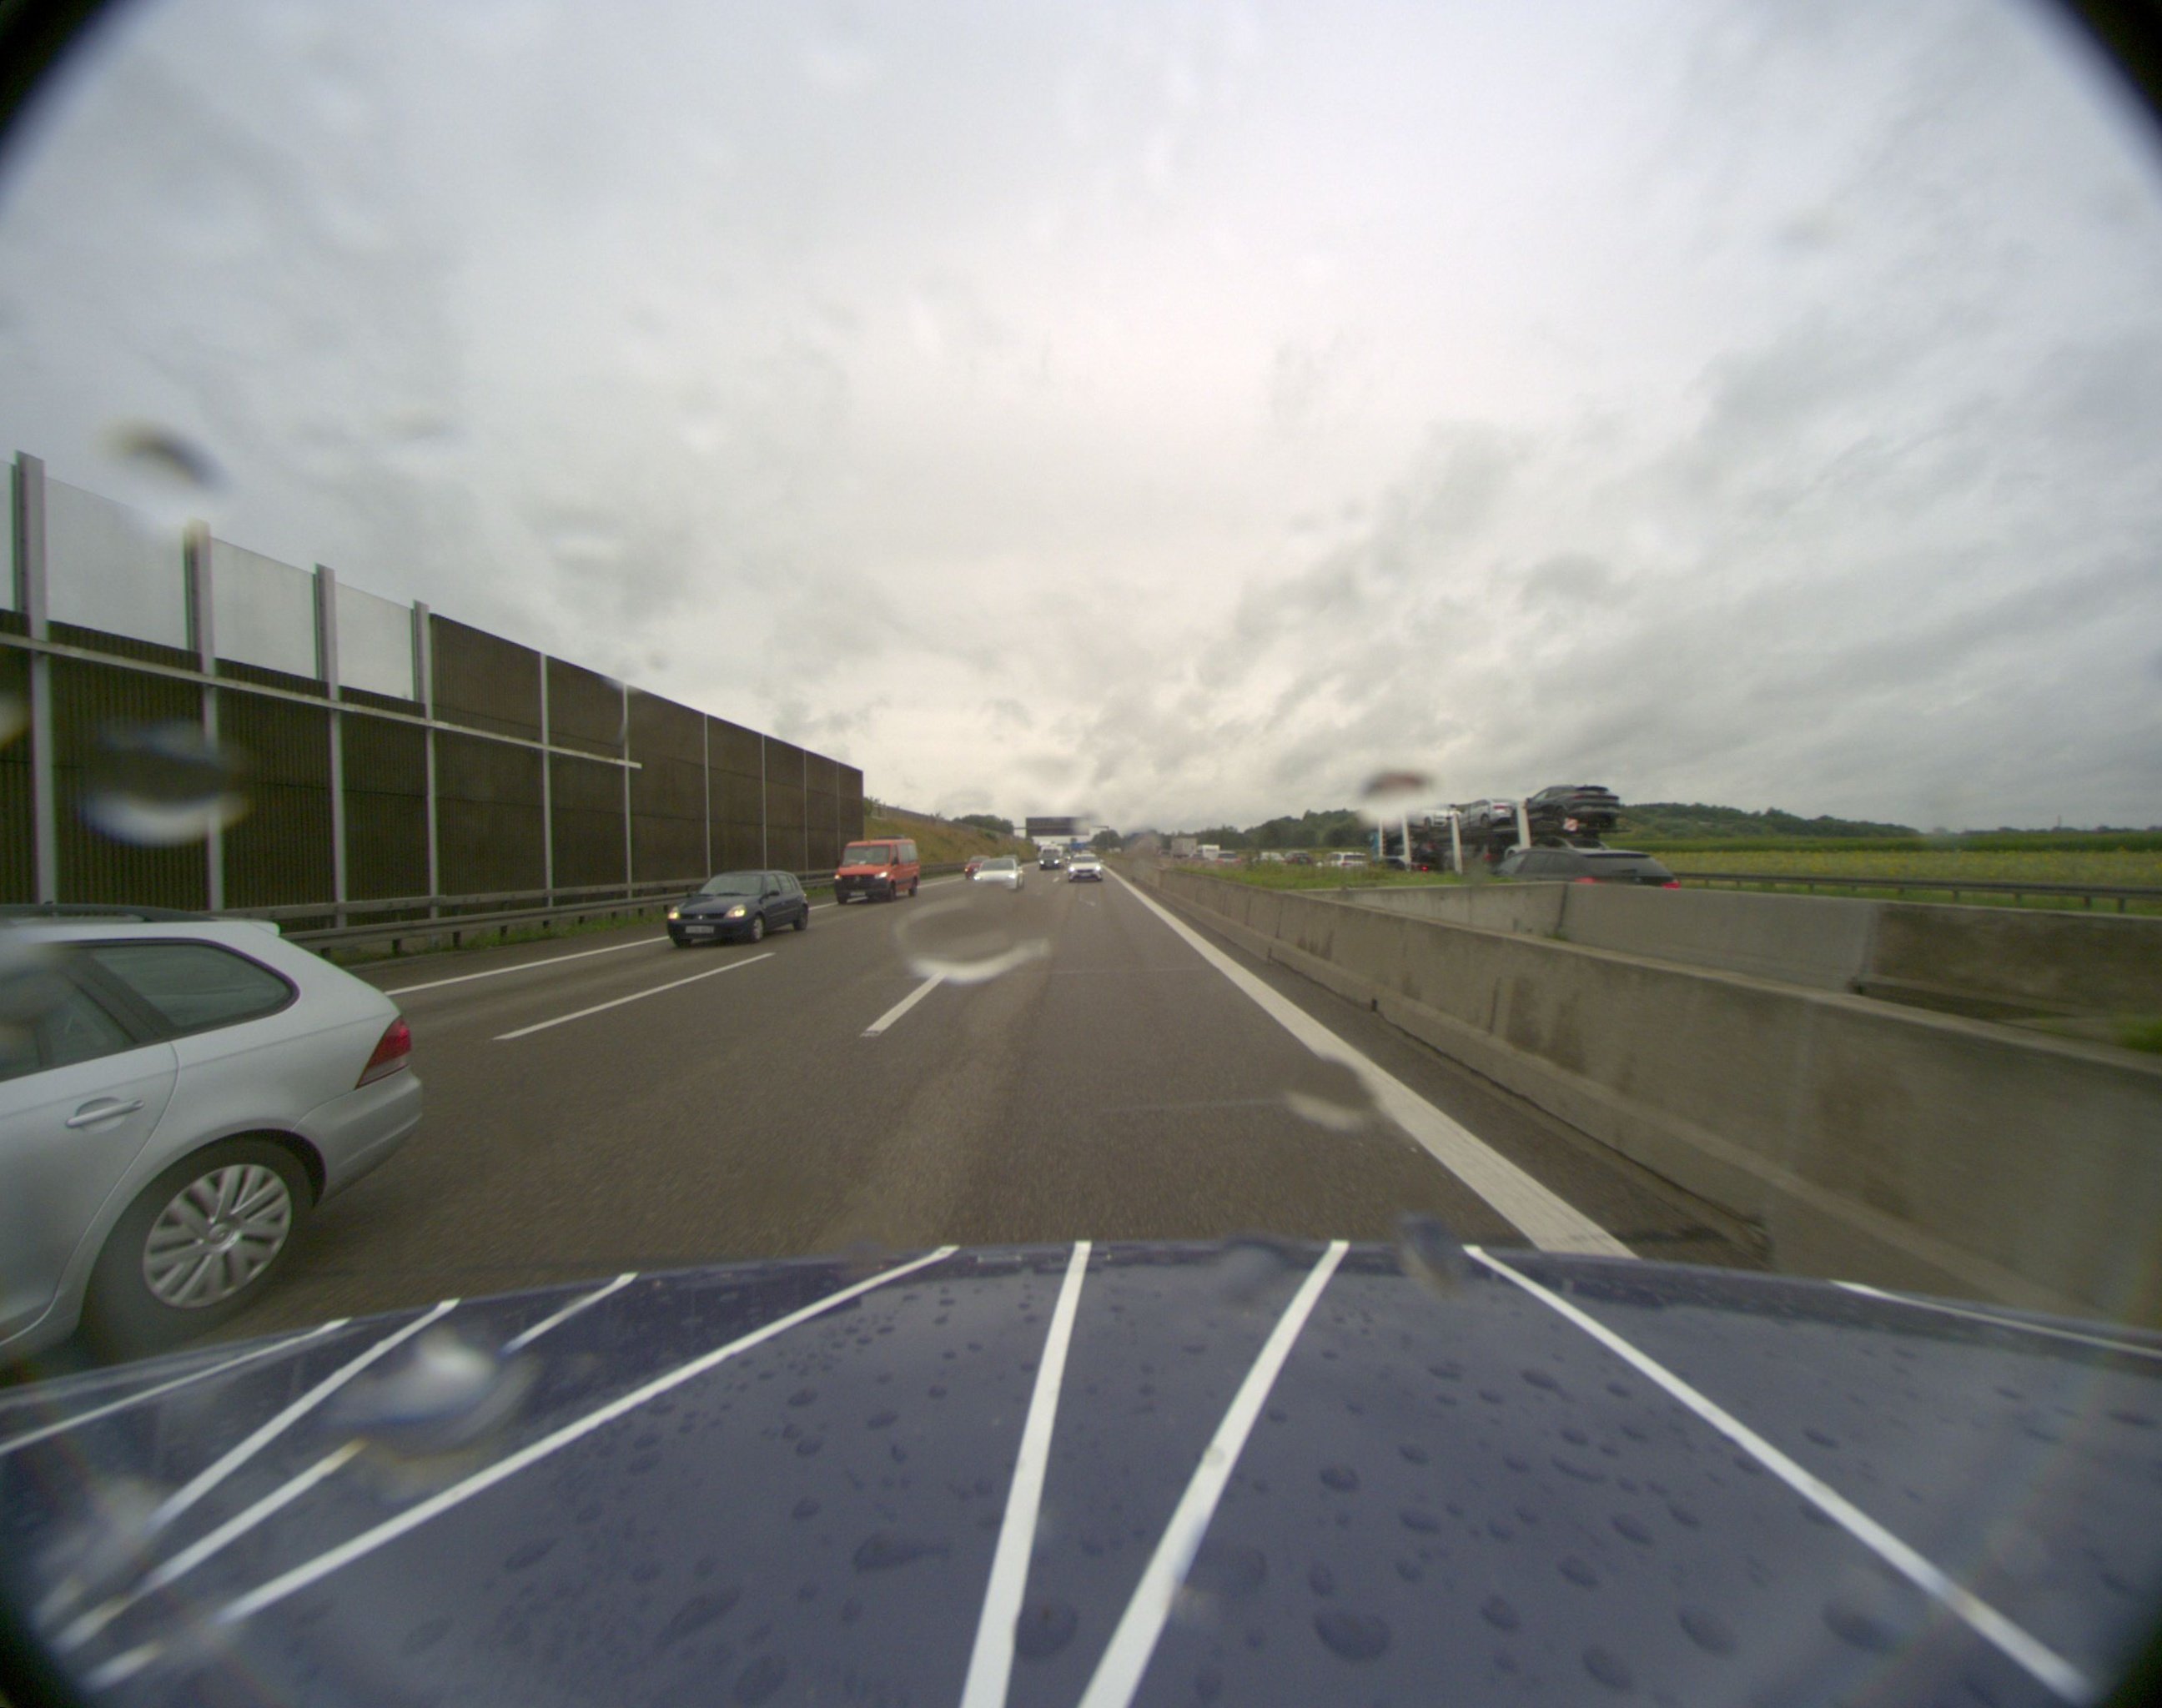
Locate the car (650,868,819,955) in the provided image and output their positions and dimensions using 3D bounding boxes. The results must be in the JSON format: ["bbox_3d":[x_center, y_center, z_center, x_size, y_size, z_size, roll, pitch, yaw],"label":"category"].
[{"bbox_3d":[-7.041,1.093,15.922,1.707,1.393,3.874,-3,1,-1],"label":"car"}]

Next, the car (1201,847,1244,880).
[{"bbox_3d":[9.118,0.582,49.351,1.932,1.868,4.589,-3,1,1],"label":"car"}]

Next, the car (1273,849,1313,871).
[{"bbox_3d":[17.914,0.465,64.338,2.098,1.700,4.800,-2,0,2],"label":"car"}]

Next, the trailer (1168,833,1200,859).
[{"bbox_3d":[18.455,-1.488,136.967,3.722,4.247,15.621,-3,1,1],"label":"trailer"}]

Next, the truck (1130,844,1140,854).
[{"bbox_3d":[15.534,-1.521,220.604,2.317,2.892,7.423,-3,1,1],"label":"truck"}]

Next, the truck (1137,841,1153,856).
[{"bbox_3d":[20.730,-1.823,247.047,3.521,4.458,11.784,-3,1,-1],"label":"truck"}]

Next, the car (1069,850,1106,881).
[{"bbox_3d":[0.350,0.578,41.698,1.841,1.455,3.999,-3,1,1],"label":"car"}]

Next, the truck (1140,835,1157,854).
[{"bbox_3d":[14.764,-2.009,167.703,3.100,3.953,6.370,-3,1,1],"label":"truck"}]

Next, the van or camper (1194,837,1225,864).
[{"bbox_3d":[18.458,-0.551,109.537,2.716,3.483,7.697,-3,1,-1],"label":"van or camper"}]

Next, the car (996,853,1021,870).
[{"bbox_3d":[-6.974,0.716,73.742,1.929,1.480,4.484,-3,1,0],"label":"car"}]

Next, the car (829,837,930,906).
[{"bbox_3d":[-7.642,0.591,29.559,2.091,2.302,6.181,-2,0,1],"label":"car"}]

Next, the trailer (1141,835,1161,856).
[{"bbox_3d":[14.669,-1.856,160.824,3.093,4.065,12.328,-3,1,1],"label":"trailer"}]

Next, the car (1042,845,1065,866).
[{"bbox_3d":[-2.766,0.121,76.464,1.998,2.002,4.937,-3,1,1],"label":"car"}]

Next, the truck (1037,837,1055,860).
[{"bbox_3d":[-6.612,-1.081,143.799,3.090,4.003,6.954,-3,1,-1],"label":"truck"}]

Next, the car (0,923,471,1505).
[{"bbox_3d":[-3.811,1.080,1.348,1.746,1.417,4.516,-2,1,0],"label":"car"}]

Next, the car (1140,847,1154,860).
[{"bbox_3d":[10.488,-0.089,120.803,1.888,1.913,4.173,-1,1,0],"label":"car"}]

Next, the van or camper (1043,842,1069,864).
[{"bbox_3d":[-2.642,-0.140,81.709,2.432,2.139,6.497,-3,1,1],"label":"van or camper"}]

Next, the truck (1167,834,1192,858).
[{"bbox_3d":[18.570,-1.633,144.257,3.624,4.250,7.590,-3,1,1],"label":"truck"}]

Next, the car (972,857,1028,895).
[{"bbox_3d":[-3.476,0.895,33.574,1.878,1.355,4.812,-3,1,0],"label":"car"}]

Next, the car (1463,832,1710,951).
[{"bbox_3d":[8.756,0.564,13.654,1.819,1.805,4.000,0,1,1],"label":"car"}]

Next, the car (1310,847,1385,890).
[{"bbox_3d":[13.220,0.647,38.044,1.998,1.868,5.031,-3,1,1],"label":"car"}]

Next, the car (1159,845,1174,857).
[{"bbox_3d":[14.599,-0.511,129.909,1.888,1.913,5.277,-1,1,0],"label":"car"}]

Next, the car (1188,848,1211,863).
[{"bbox_3d":[14.488,0.150,93.453,2.066,1.700,4.799,-2,0,0],"label":"car"}]

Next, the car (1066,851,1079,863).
[{"bbox_3d":[-1.468,0.486,126.260,1.999,1.759,3.999,-1,1,-2],"label":"car"}]

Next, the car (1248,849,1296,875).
[{"bbox_3d":[13.804,0.534,55.221,2.099,1.700,5.164,-2,0,0],"label":"car"}]

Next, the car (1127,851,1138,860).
[{"bbox_3d":[10.908,0.261,160.837,1.998,1.754,5.071,-1,0,1],"label":"car"}]

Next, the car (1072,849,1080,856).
[{"bbox_3d":[-1.423,-0.475,201.988,1.998,1.696,3.999,-3,1,1],"label":"car"}]

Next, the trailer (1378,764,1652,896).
[{"bbox_3d":[17.477,-0.922,33.038,3.006,4.217,15.705,-3,1,1],"label":"trailer"}]

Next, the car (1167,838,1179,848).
[{"bbox_3d":[18.925,-2.313,156.404,1.998,2.002,4.621,-1,1,1],"label":"car"}]

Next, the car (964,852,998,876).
[{"bbox_3d":[-7.301,0.721,55.817,1.878,1.526,3.999,-3,1,0],"label":"car"}]

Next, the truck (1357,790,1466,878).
[{"bbox_3d":[17.504,-1.036,40.737,2.964,4.218,6.233,-3,1,0],"label":"truck"}]
